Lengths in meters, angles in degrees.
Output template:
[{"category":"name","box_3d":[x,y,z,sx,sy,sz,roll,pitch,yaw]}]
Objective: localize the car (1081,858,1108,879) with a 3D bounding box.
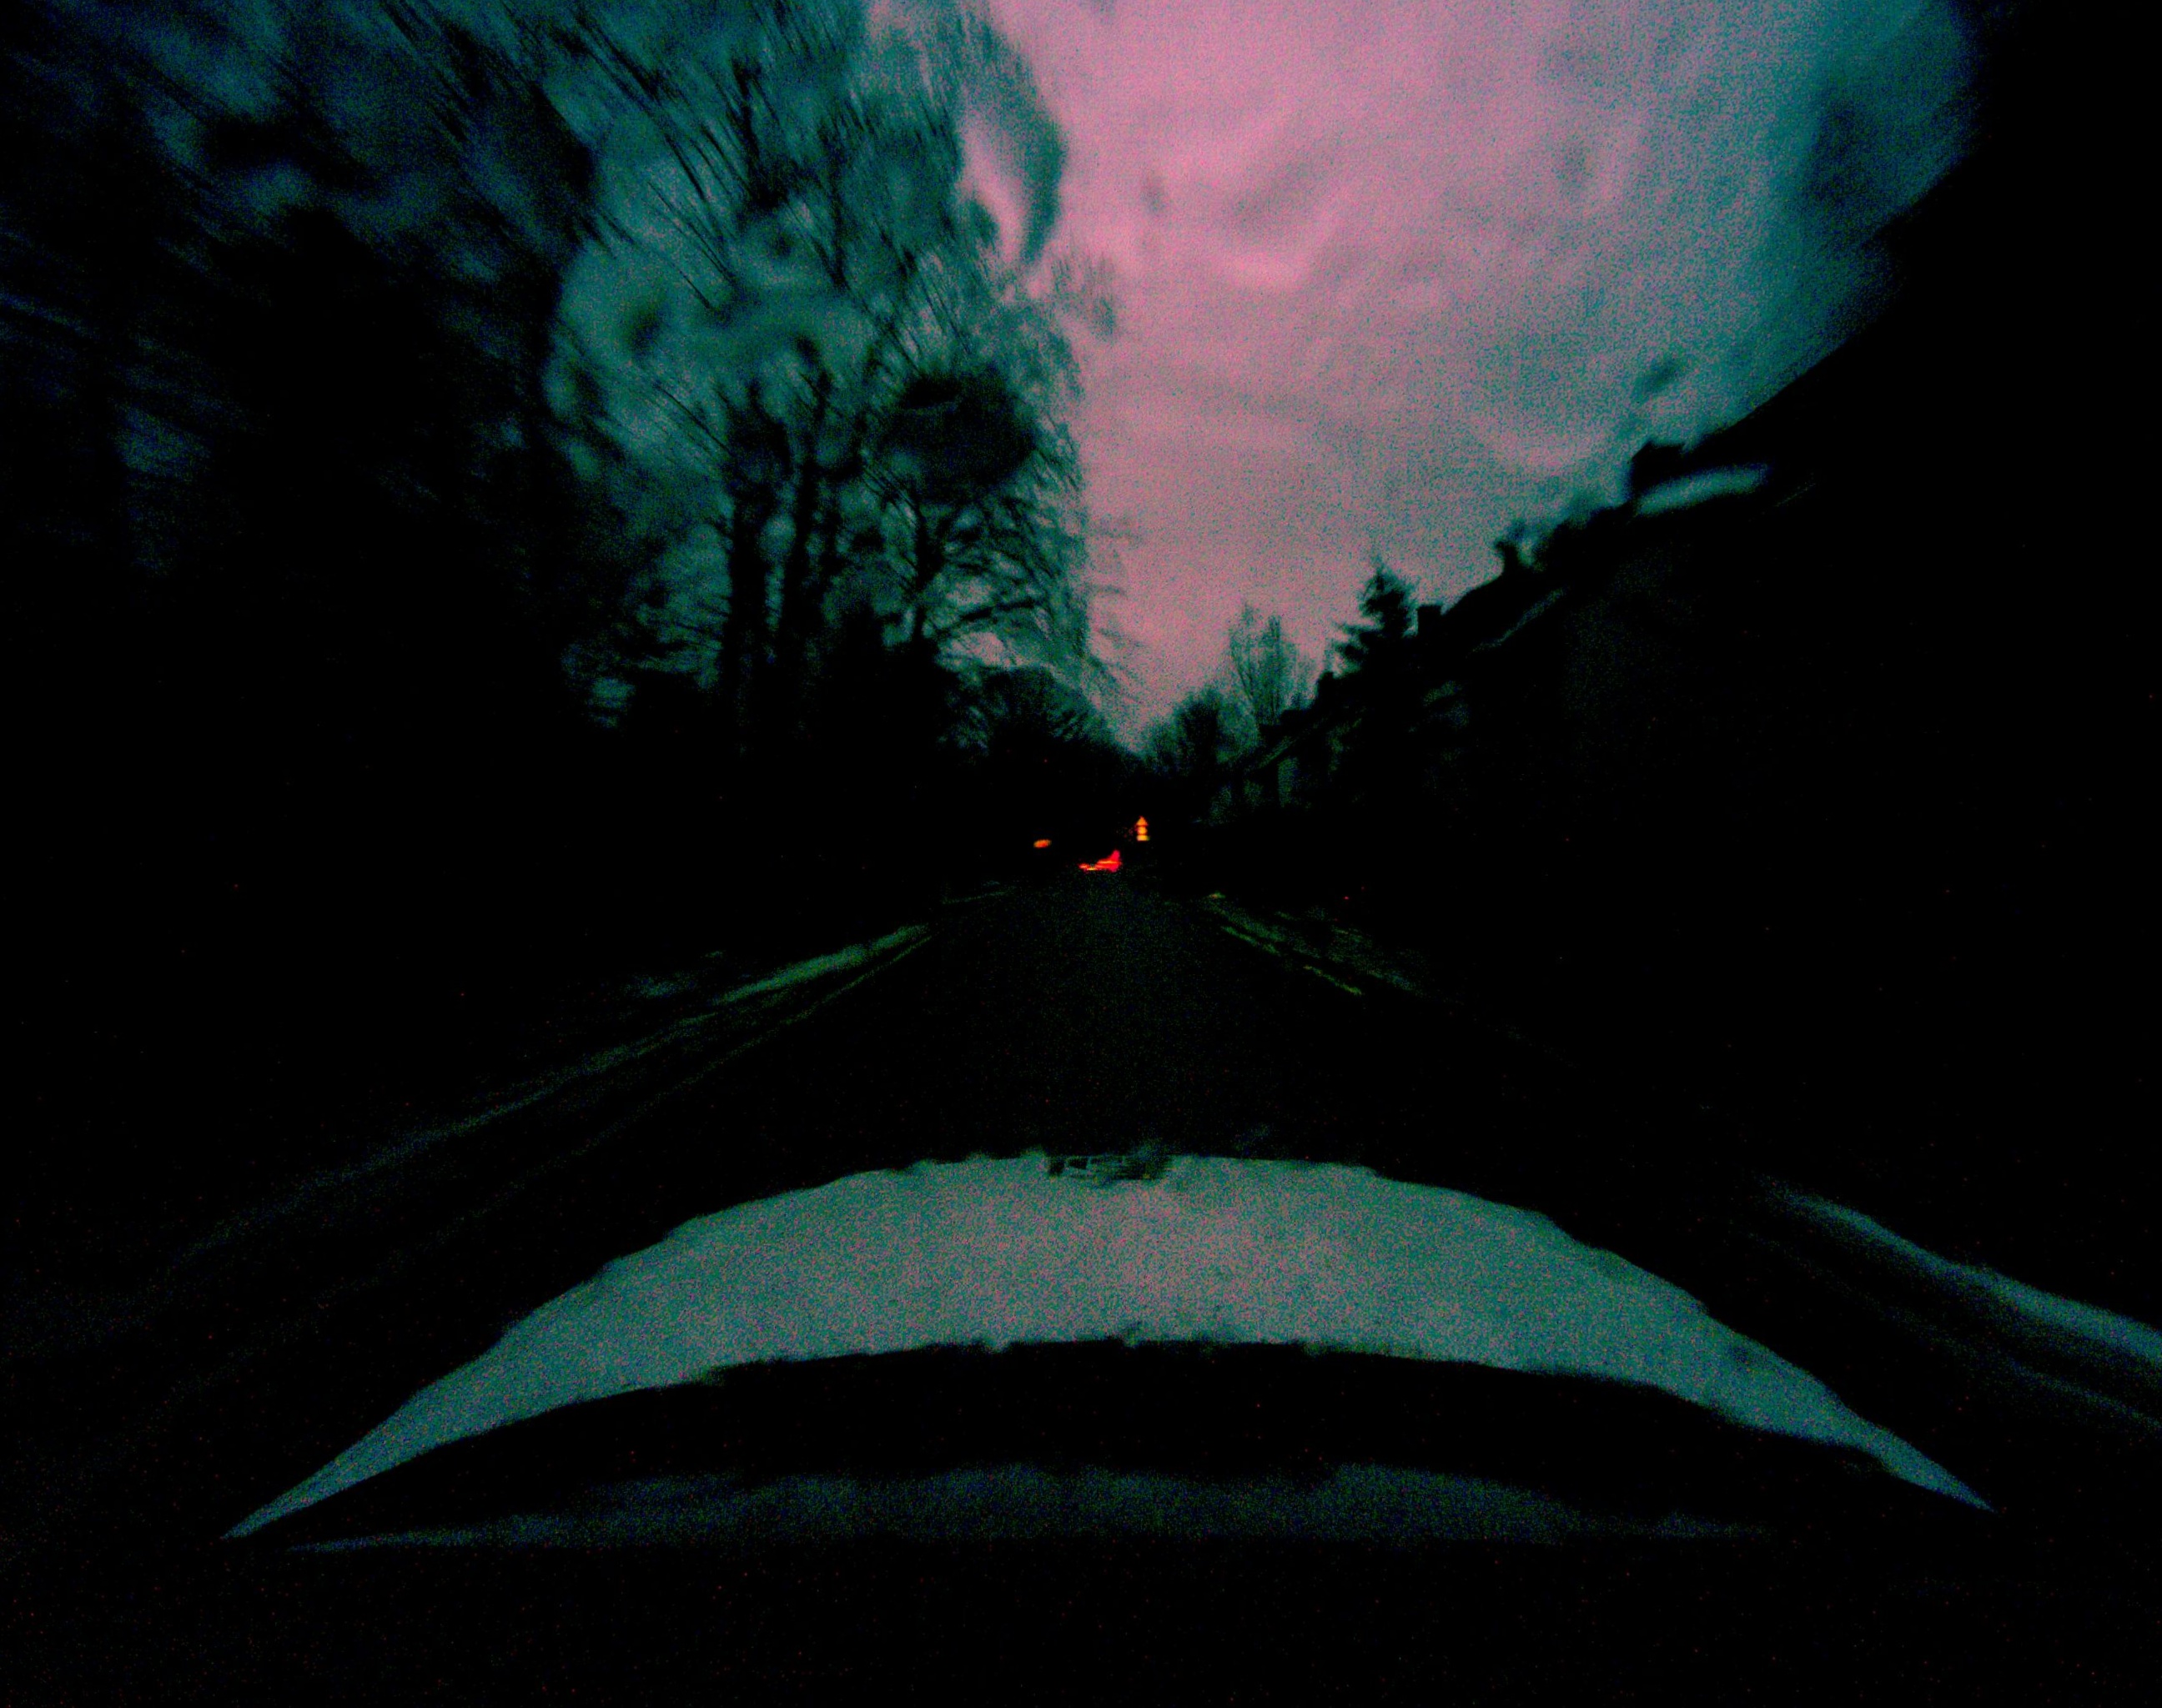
[{"category":"car","box_3d":[1.251,1.277,72.511,1.923,1.781,4.008,-2,0,7]}]
